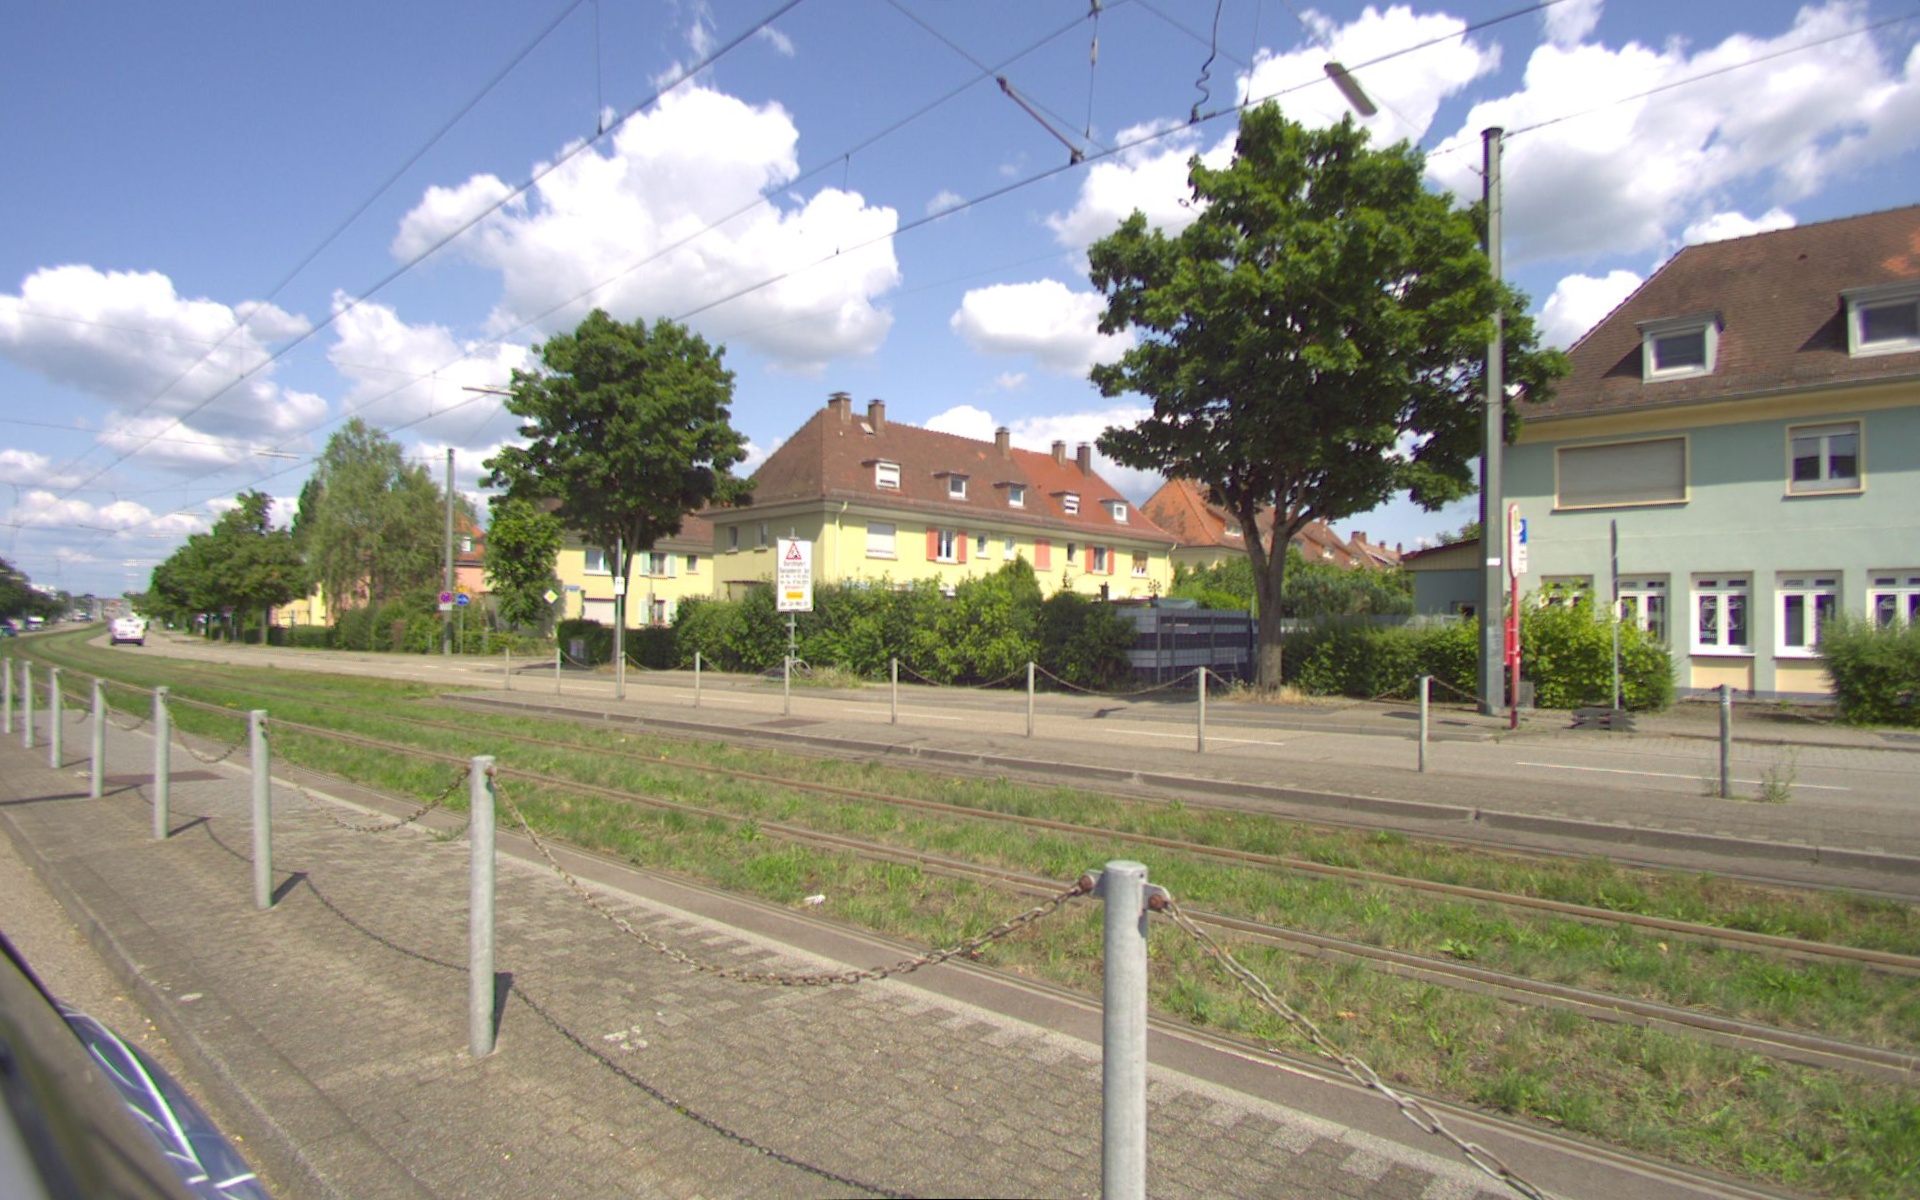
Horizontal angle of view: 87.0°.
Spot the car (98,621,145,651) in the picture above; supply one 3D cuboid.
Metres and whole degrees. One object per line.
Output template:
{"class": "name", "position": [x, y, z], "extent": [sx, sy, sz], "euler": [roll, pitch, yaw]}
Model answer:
{"class": "car", "position": [-70.343, 2.990, 84.858], "extent": [5.331, 2.390, 2.172], "euler": [-1, -4, 42]}

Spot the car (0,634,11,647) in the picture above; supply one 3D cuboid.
{"class": "car", "position": [-117.656, 4.920, 123.943], "extent": [1.969, 1.497, 4.005], "euler": [0, -1, -42]}
